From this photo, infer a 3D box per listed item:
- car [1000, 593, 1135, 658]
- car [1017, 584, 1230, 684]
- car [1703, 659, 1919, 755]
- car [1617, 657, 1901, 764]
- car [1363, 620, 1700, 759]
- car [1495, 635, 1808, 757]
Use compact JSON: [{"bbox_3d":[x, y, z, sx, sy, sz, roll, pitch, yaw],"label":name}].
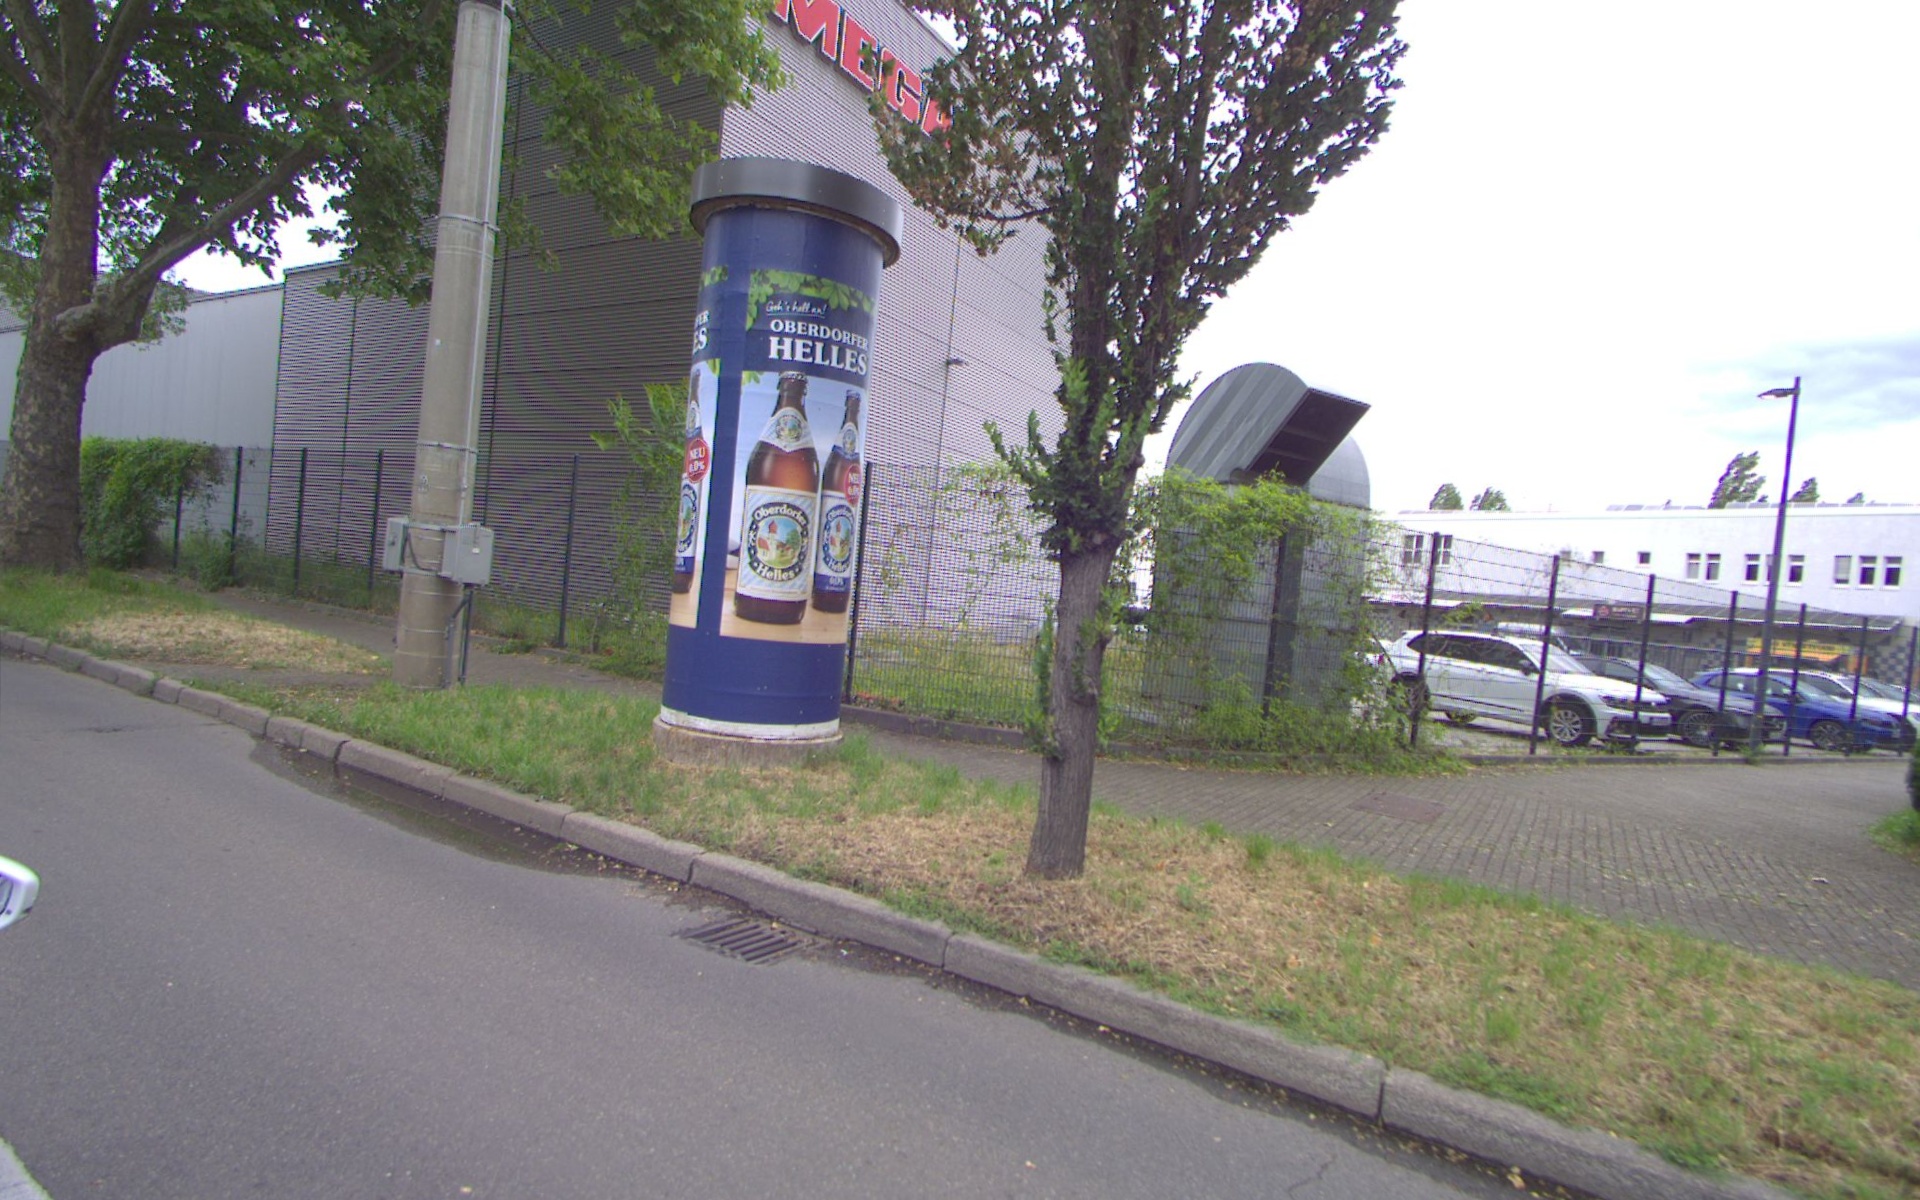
[{"bbox_3d":[3.411,0.785,32.661,1.982,1.668,4.233,8,-2,-34],"label":"car"},{"bbox_3d":[3.679,0.762,22.706,4.198,1.668,1.998,6,-2,29],"label":"car"},{"bbox_3d":[21.330,2.588,24.667,1.978,1.687,4.465,5,1,-31],"label":"car"},{"bbox_3d":[17.646,2.395,22.471,1.978,1.687,4.465,5,1,-31],"label":"car"},{"bbox_3d":[9.472,1.427,17.087,1.978,1.687,4.465,5,1,-31],"label":"car"},{"bbox_3d":[13.155,1.774,19.466,1.978,1.687,4.465,5,1,-31],"label":"car"}]
